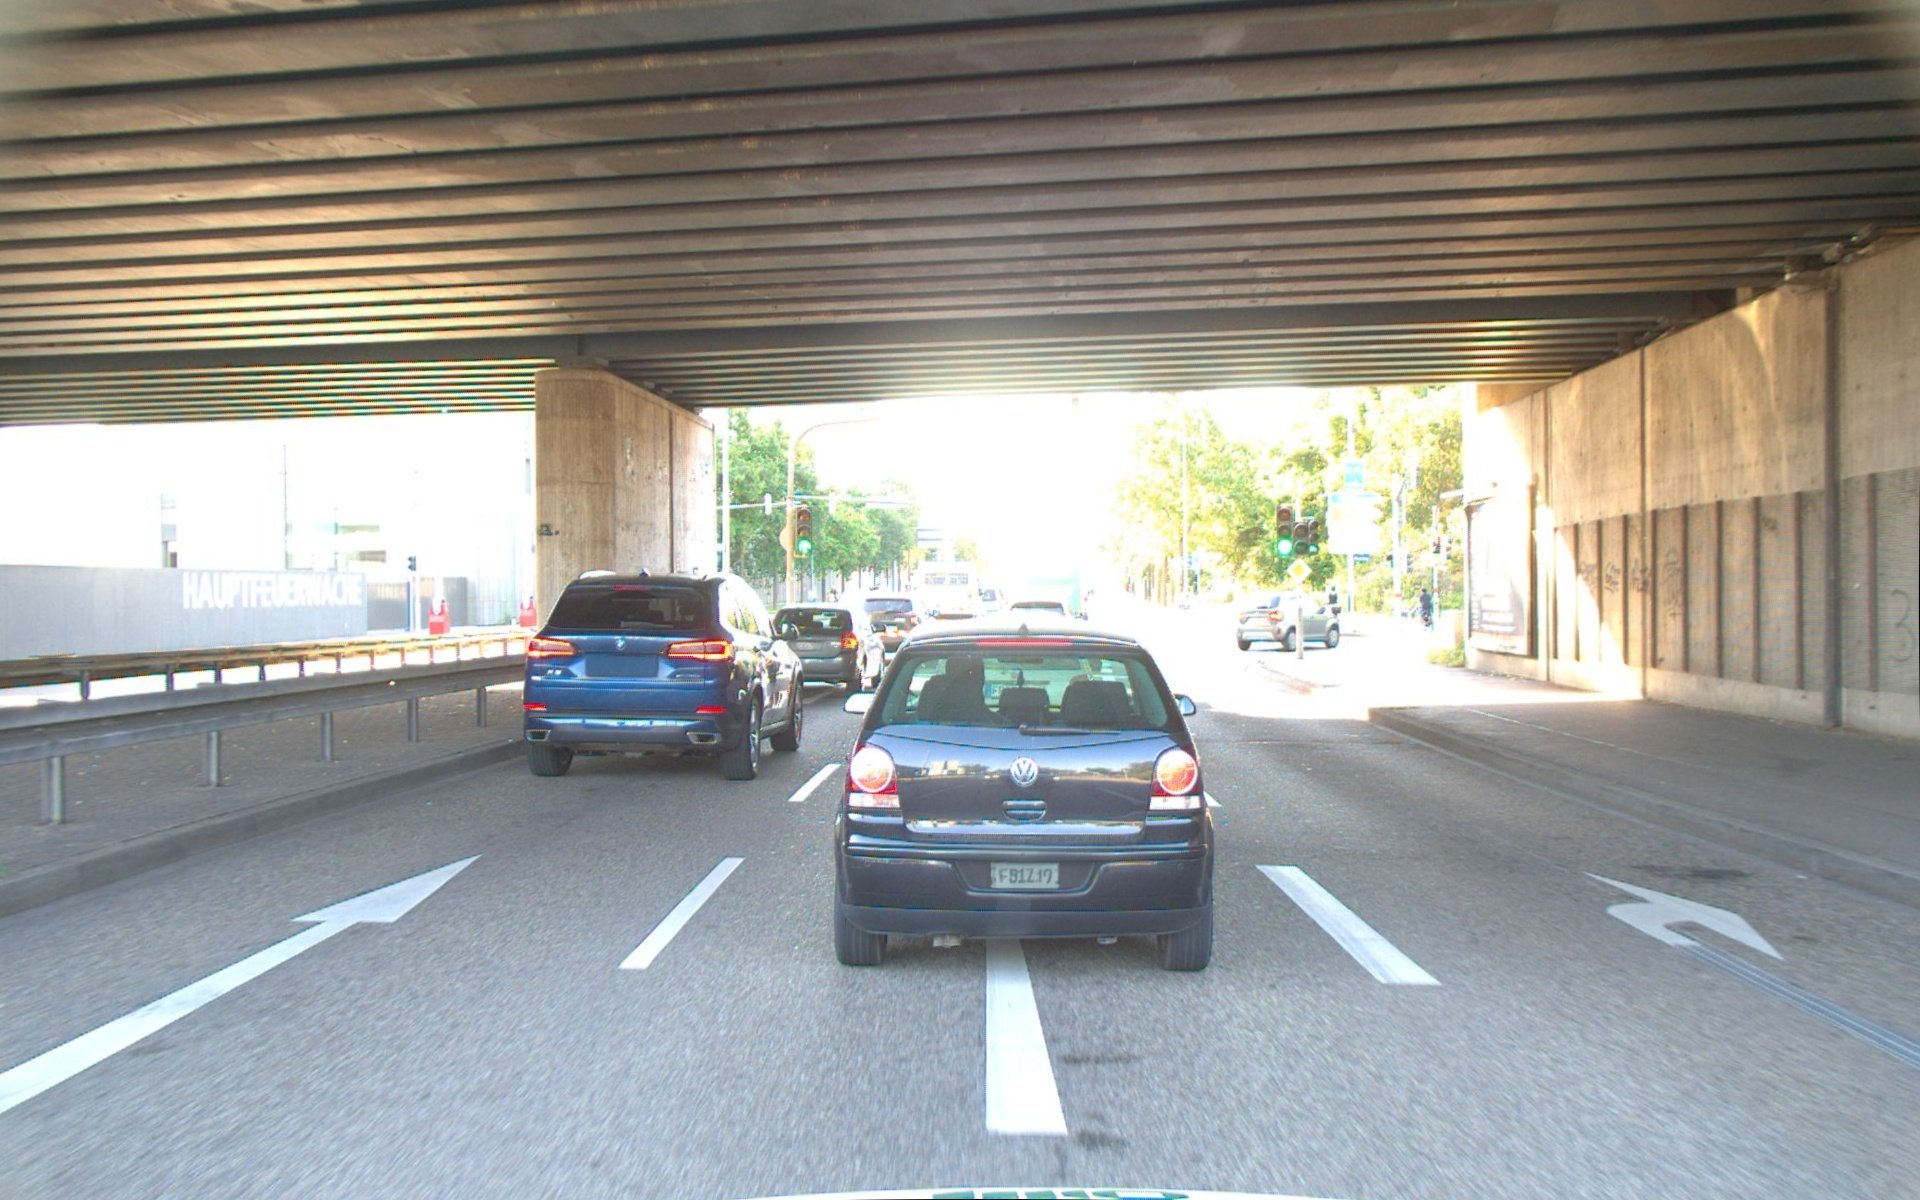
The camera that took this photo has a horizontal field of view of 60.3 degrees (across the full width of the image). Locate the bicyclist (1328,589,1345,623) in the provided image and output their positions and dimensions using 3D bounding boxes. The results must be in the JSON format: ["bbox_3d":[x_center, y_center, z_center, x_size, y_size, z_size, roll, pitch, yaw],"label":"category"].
[{"bbox_3d":[14.947,0.237,65.629,0.532,1.339,0.836,1,-1,4],"label":"bicyclist"}]

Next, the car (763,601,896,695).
[{"bbox_3d":[-2.117,0.768,27.733,1.582,1.434,3.685,1,0,6],"label":"car"}]

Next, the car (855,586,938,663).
[{"bbox_3d":[-1.458,0.559,38.969,1.583,1.709,3.684,1,0,3],"label":"car"}]

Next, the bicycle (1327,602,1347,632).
[{"bbox_3d":[14.932,0.674,65.496,0.553,1.132,1.622,1,0,5],"label":"bicycle"}]

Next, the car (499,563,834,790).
[{"bbox_3d":[-2.517,0.622,15.423,1.951,1.764,4.535,1,0,5],"label":"car"}]

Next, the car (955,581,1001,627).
[{"bbox_3d":[0.732,0.164,64.416,1.582,1.709,3.684,1,0,4],"label":"car"}]

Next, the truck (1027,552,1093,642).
[{"bbox_3d":[3.226,-0.080,52.694,1.954,2.715,4.002,1,0,5],"label":"truck"}]

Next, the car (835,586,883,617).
[{"bbox_3d":[-5.213,0.093,85.607,1.952,1.501,4.082,2,0,4],"label":"car"}]

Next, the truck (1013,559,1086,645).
[{"bbox_3d":[2.628,0.077,47.883,1.954,2.356,4.002,1,0,5],"label":"truck"}]

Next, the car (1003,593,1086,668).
[{"bbox_3d":[1.990,0.683,37.947,1.758,1.586,4.002,1,0,5],"label":"car"}]

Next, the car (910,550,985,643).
[{"bbox_3d":[-0.378,-0.074,49.761,2.093,2.621,5.086,1,0,0],"label":"car"}]

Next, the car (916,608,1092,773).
[{"bbox_3d":[0.370,0.821,16.764,1.546,1.438,4.061,1,0,-1],"label":"car"}]

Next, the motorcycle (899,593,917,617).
[{"bbox_3d":[-2.517,0.213,80.424,0.823,1.094,2.400,-3,1,-2],"label":"motorcycle"}]

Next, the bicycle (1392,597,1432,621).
[{"bbox_3d":[19.814,0.381,72.509,1.628,1.008,0.578,-1,2,21],"label":"bicycle"}]

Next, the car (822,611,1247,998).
[{"bbox_3d":[0.294,0.786,8.110,1.583,1.434,3.683,1,0,0],"label":"car"}]

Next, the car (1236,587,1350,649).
[{"bbox_3d":[9.418,0.506,46.612,1.707,1.659,4.049,1,-1,34],"label":"car"}]

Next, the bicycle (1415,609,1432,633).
[{"bbox_3d":[18.347,0.824,65.451,0.428,0.930,1.027,1,-1,5],"label":"bicycle"}]

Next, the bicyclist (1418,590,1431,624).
[{"bbox_3d":[18.360,0.292,65.375,0.418,1.331,0.460,1,-1,5],"label":"bicyclist"}]

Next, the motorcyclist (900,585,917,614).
[{"bbox_3d":[-2.526,-0.039,80.490,0.781,1.373,1.274,-2,2,-2],"label":"motorcyclist"}]
